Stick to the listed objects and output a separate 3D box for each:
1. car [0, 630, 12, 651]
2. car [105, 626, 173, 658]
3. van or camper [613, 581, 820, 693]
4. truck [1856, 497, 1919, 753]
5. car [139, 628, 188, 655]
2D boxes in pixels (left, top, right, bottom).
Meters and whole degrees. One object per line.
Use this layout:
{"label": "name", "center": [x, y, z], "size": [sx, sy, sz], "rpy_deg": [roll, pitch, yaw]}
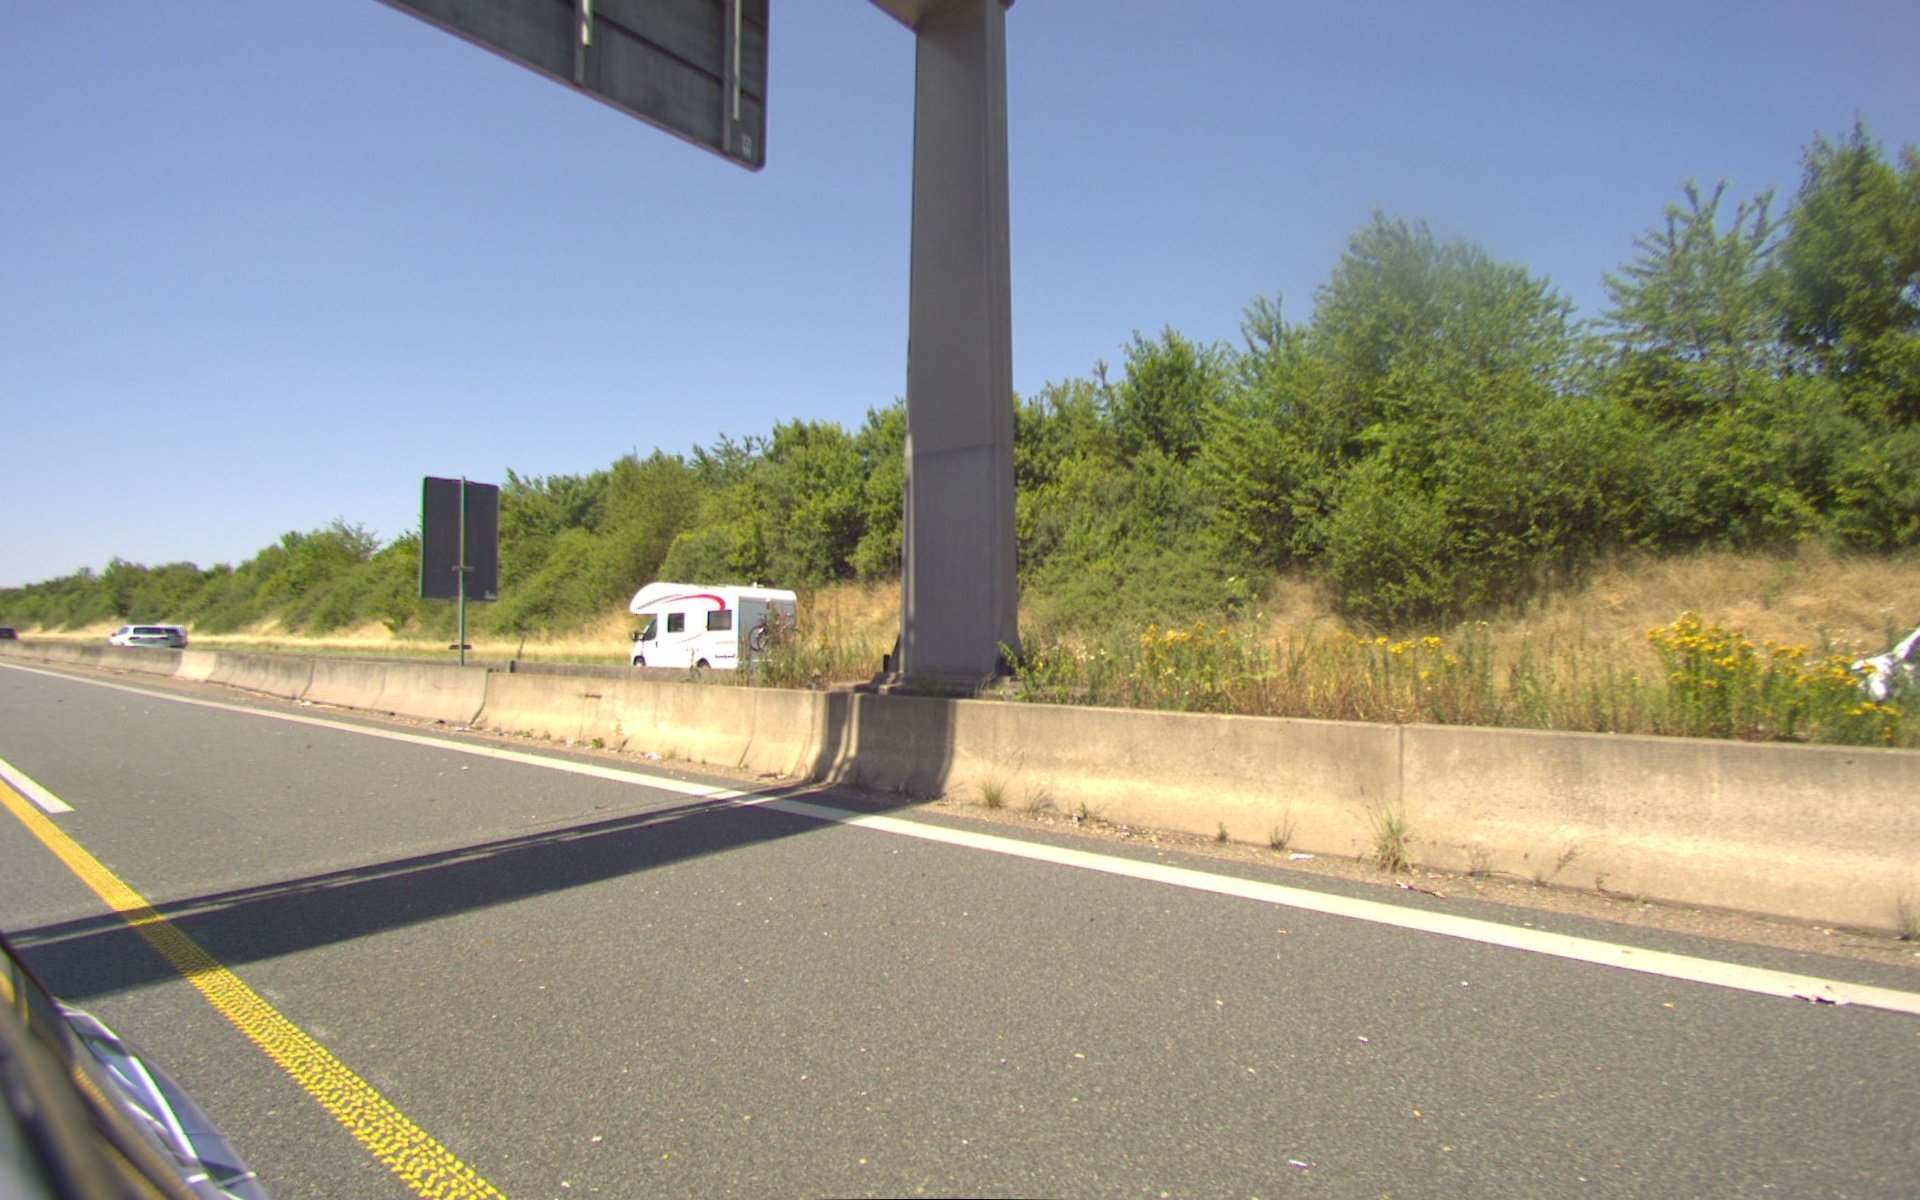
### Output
{"label": "car", "center": [-81.553, 3.405, 85.315], "size": [4.496, 1.707, 1.853], "rpy_deg": [-2, -3, 41]}
{"label": "car", "center": [-40.943, 2.059, 50.429], "size": [4.354, 1.466, 1.891], "rpy_deg": [-2, -1, 41]}
{"label": "van or camper", "center": [-7.890, 1.163, 32.122], "size": [7.622, 3.171, 2.410], "rpy_deg": [-2, -3, 41]}
{"label": "truck", "center": [15.159, 0.291, 12.215], "size": [6.361, 3.284, 2.469], "rpy_deg": [-2, -3, 41]}
{"label": "car", "center": [-61.597, 3.221, 78.257], "size": [5.593, 2.029, 1.910], "rpy_deg": [-2, -3, 41]}
